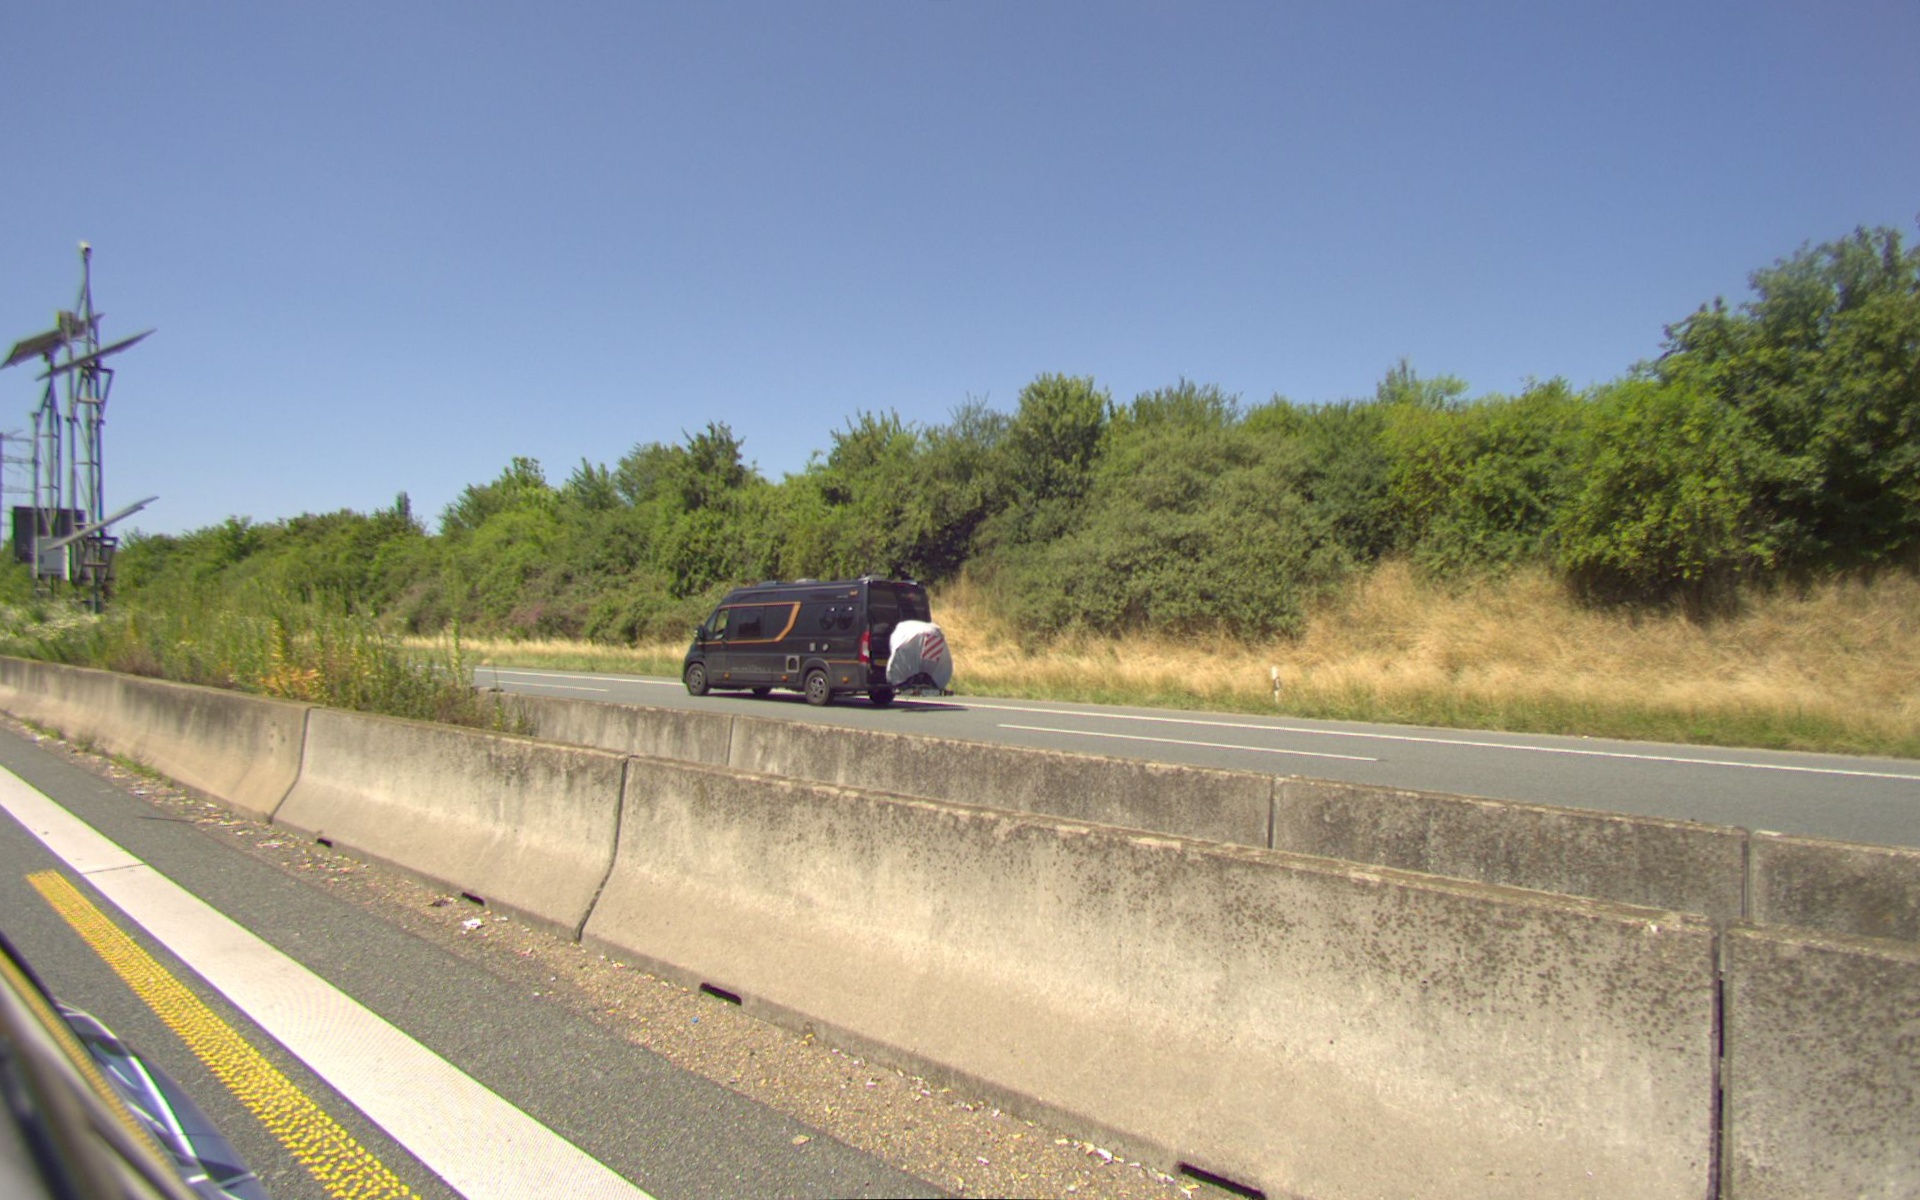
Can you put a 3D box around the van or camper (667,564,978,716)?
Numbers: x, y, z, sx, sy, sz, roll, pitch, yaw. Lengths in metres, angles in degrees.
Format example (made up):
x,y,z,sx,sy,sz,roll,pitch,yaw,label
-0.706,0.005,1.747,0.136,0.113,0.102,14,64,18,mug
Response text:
x,y,z,sx,sy,sz,roll,pitch,yaw,label
-3.096,0.804,21.310,7.073,2.731,2.200,-1,-4,39,van or camper
